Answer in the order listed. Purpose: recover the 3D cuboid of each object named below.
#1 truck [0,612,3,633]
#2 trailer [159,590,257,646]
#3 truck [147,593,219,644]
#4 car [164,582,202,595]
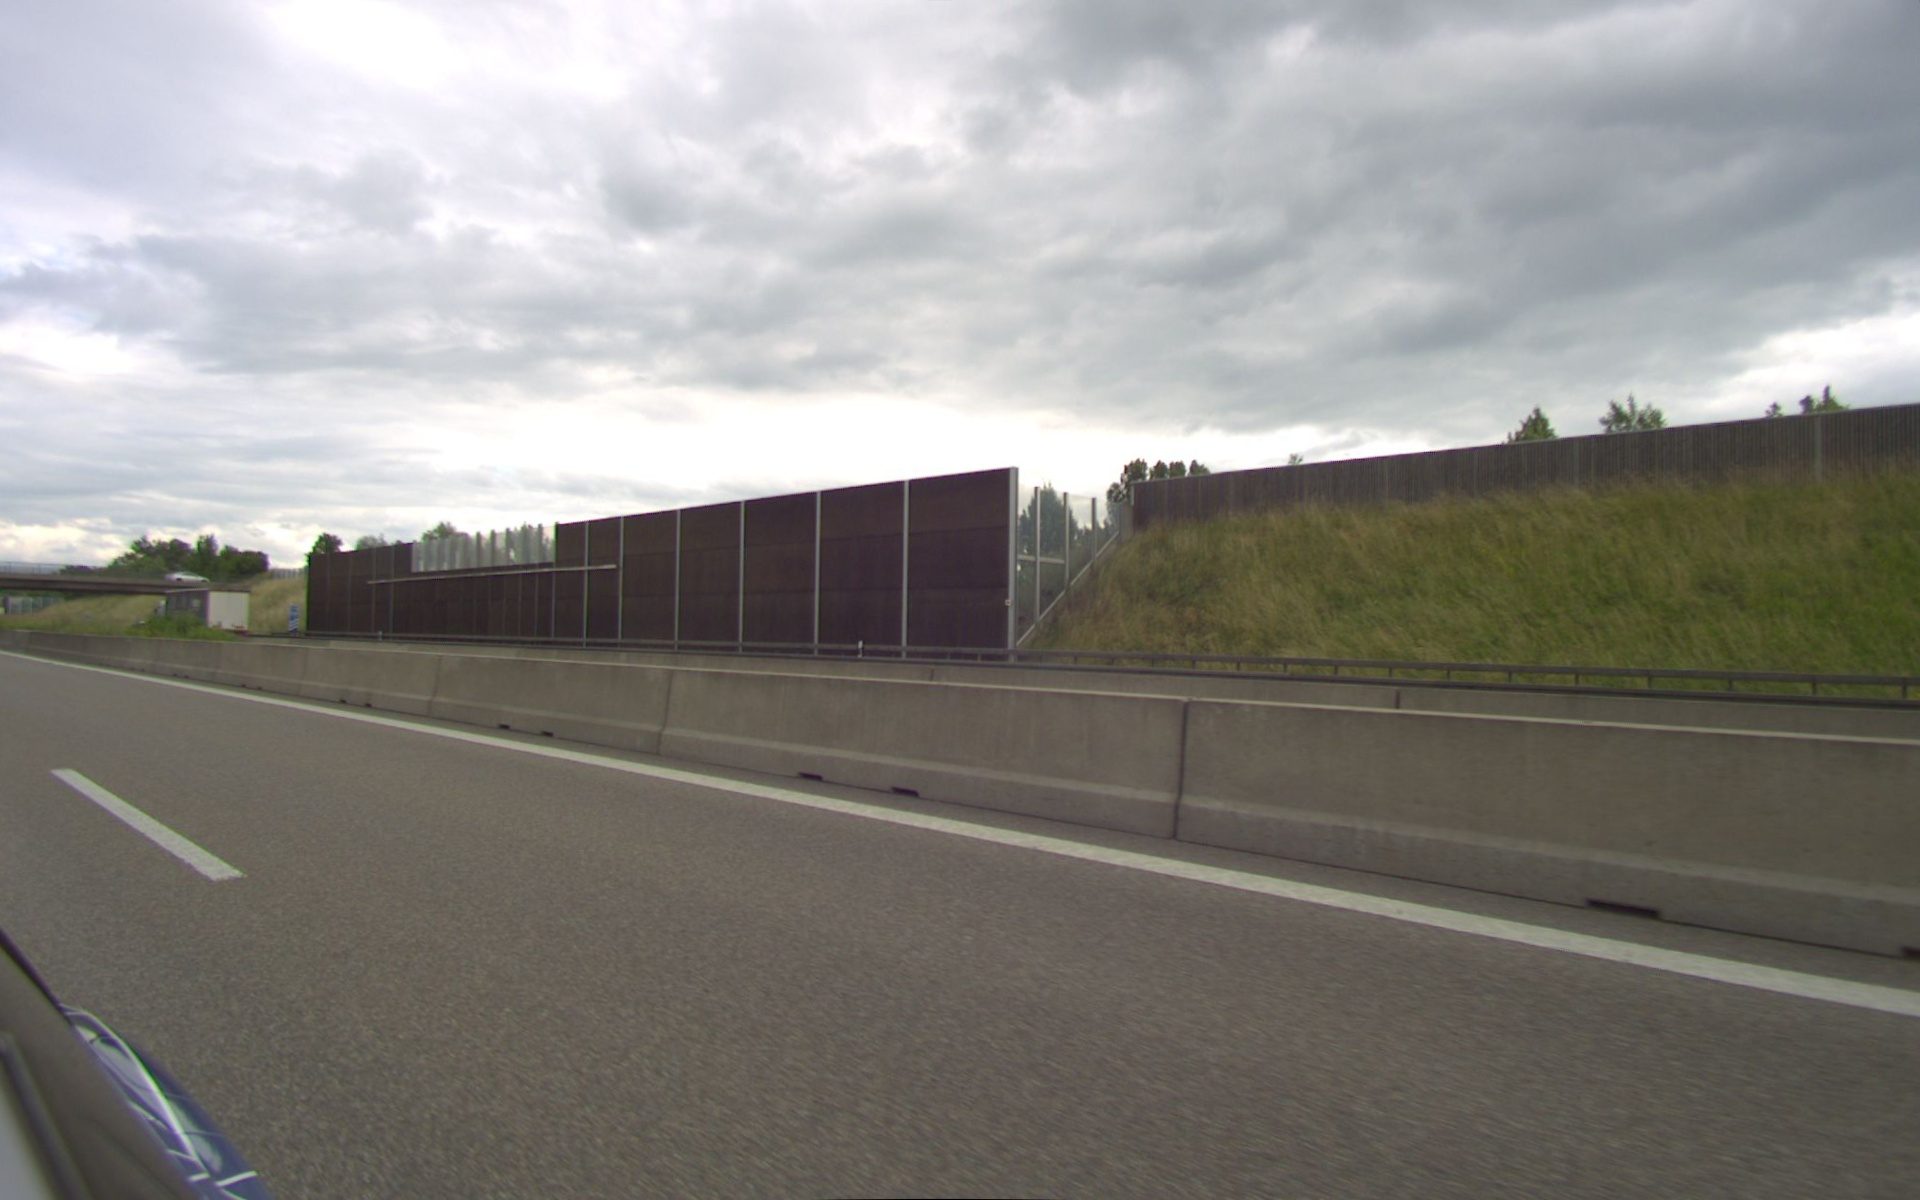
[{"bbox_3d":[-176.178,4.121,183.408,13.004,3.712,2.966,-1,-1,42],"label":"truck"},{"bbox_3d":[-58.486,1.380,78.509,12.673,4.010,3.633,-1,0,42],"label":"trailer"},{"bbox_3d":[-64.235,1.505,83.605,6.011,3.977,3.629,-1,0,42],"label":"truck"},{"bbox_3d":[-93.538,-1.417,121.823,1.654,1.458,3.308,-1,-1,29],"label":"car"}]
